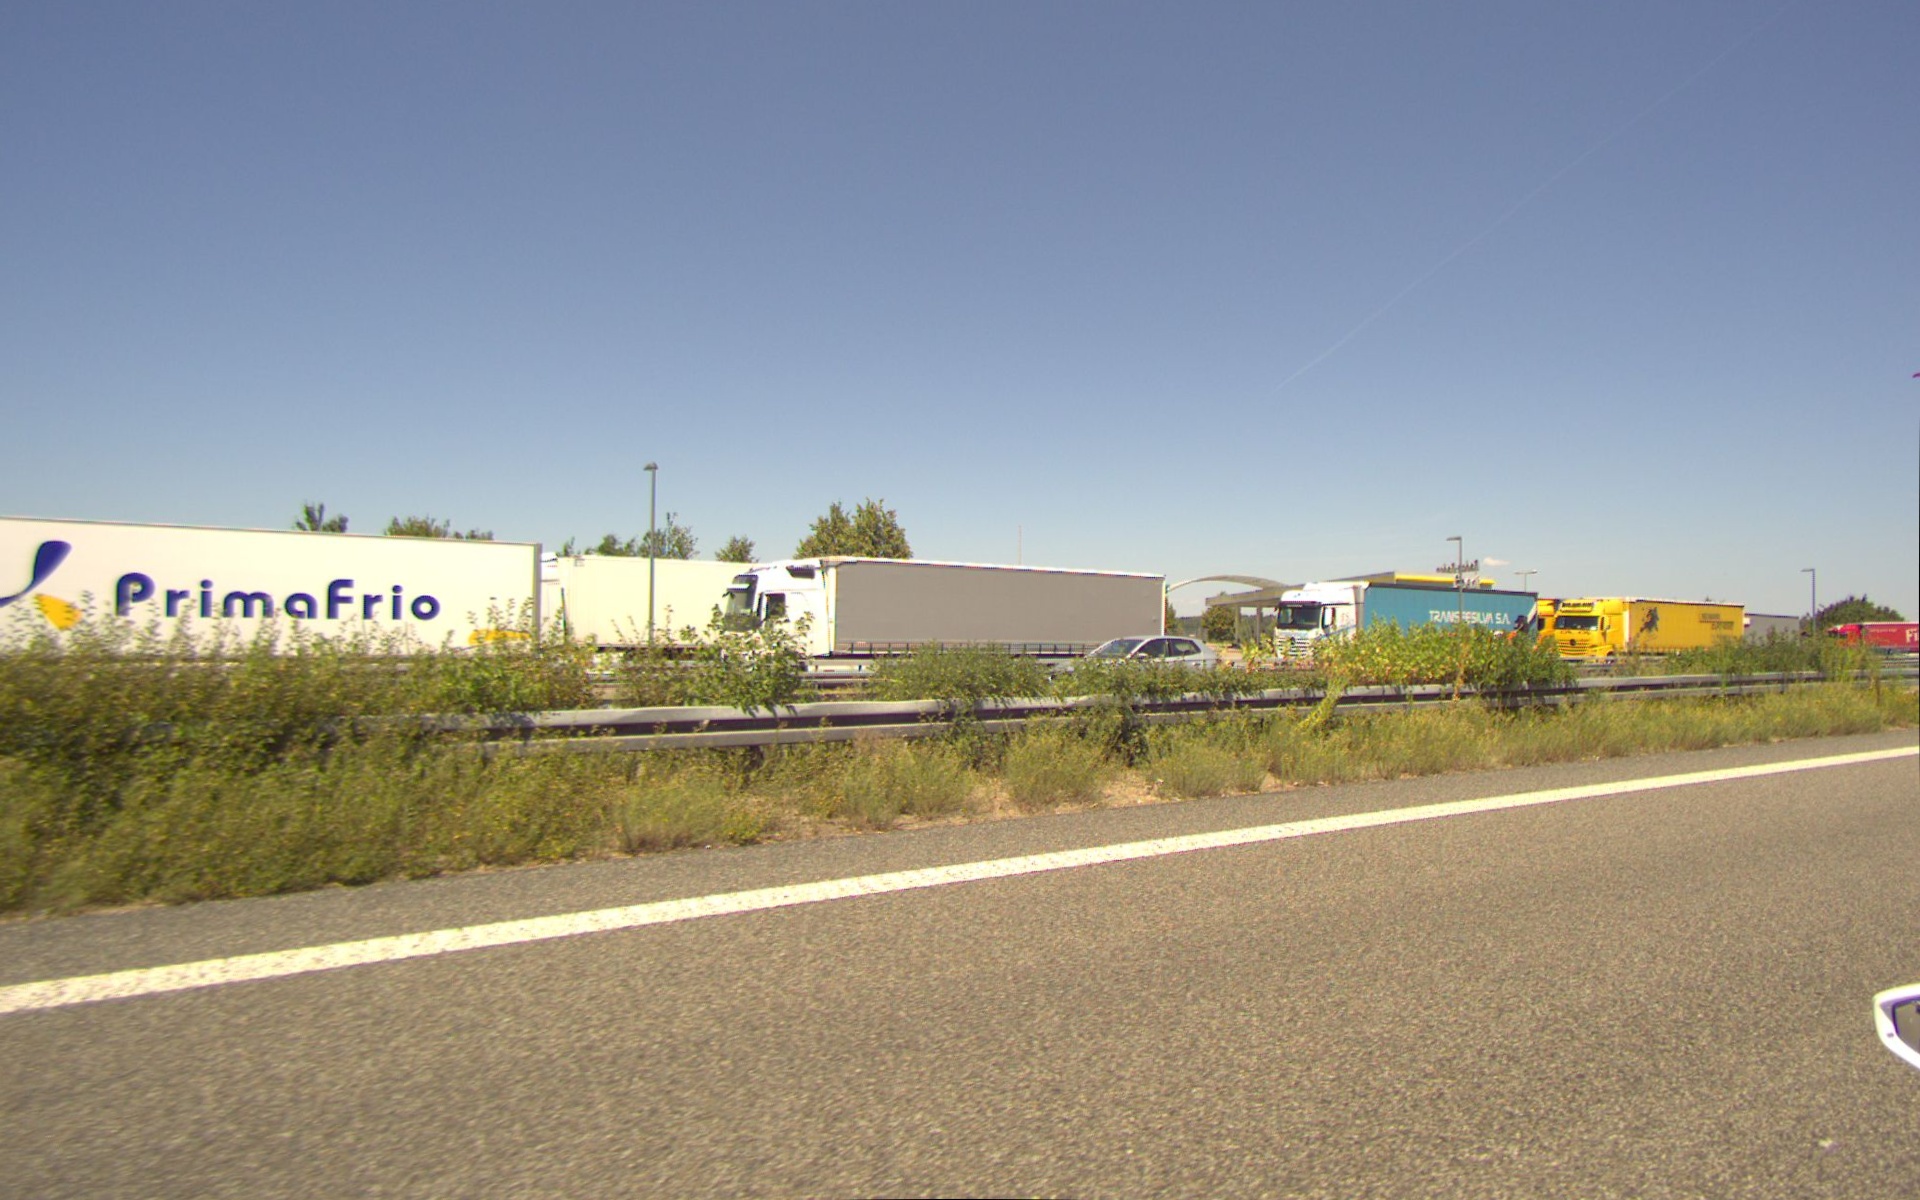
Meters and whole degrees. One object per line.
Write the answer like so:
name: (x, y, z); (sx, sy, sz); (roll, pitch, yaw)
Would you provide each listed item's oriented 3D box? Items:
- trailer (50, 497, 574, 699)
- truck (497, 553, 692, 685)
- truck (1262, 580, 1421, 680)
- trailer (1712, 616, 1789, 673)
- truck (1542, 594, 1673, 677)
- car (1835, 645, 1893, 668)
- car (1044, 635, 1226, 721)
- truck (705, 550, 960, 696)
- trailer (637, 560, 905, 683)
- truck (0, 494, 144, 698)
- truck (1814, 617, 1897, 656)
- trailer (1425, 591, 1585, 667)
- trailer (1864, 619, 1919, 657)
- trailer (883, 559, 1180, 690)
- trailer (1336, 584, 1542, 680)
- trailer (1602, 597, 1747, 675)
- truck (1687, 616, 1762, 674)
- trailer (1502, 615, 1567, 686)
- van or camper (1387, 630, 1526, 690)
trailer: (-15.376, 0.075, 25.030); (10.393, 4.275, 2.586); (2, 0, -31)
truck: (-12.163, 0.645, 33.531); (5.677, 4.059, 2.682); (2, 0, -30)
truck: (17.010, 1.311, 44.708); (7.008, 4.127, 2.835); (2, 0, -31)
trailer: (74.164, 4.118, 94.147); (9.592, 4.940, 3.277); (2, 0, -37)
truck: (35.692, 1.939, 55.304); (7.827, 4.256, 2.819); (2, 0, -31)
car: (64.586, 3.993, 71.746); (4.456, 1.509, 1.803); (2, 0, -30)
car: (3.761, 1.606, 21.430); (3.708, 1.633, 1.515); (2, 0, -30)
truck: (-4.014, 0.730, 32.191); (7.420, 4.213, 3.100); (2, 0, -31)
trailer: (-6.761, 0.806, 36.735); (9.199, 4.059, 2.682); (2, 0, -31)
truck: (-22.324, -0.138, 20.923); (7.844, 4.244, 2.569); (2, 0, -31)
truck: (102.939, 4.170, 115.555); (6.511, 4.103, 3.129); (2, 0, 5)
trailer: (32.351, 1.725, 59.380); (10.948, 4.204, 2.821); (2, 0, -29)
trailer: (110.820, 4.410, 115.024); (11.085, 4.109, 3.132); (2, 0, 5)
trailer: (2.810, 0.908, 36.407); (10.891, 4.213, 3.097); (2, 0, -32)
trailer: (23.327, 1.552, 48.533); (11.946, 4.204, 2.819); (2, 0, -31)
trailer: (42.381, 2.126, 59.409); (10.956, 4.276, 2.819); (2, 0, -31)
truck: (68.413, 3.959, 89.875); (7.553, 4.915, 3.278); (2, 0, -36)
trailer: (20.113, 1.748, 35.171); (1.975, 2.400, 1.162); (1, -1, -30)
van or camper: (16.591, 1.973, 33.517); (4.691, 1.863, 1.887); (2, -1, -30)
